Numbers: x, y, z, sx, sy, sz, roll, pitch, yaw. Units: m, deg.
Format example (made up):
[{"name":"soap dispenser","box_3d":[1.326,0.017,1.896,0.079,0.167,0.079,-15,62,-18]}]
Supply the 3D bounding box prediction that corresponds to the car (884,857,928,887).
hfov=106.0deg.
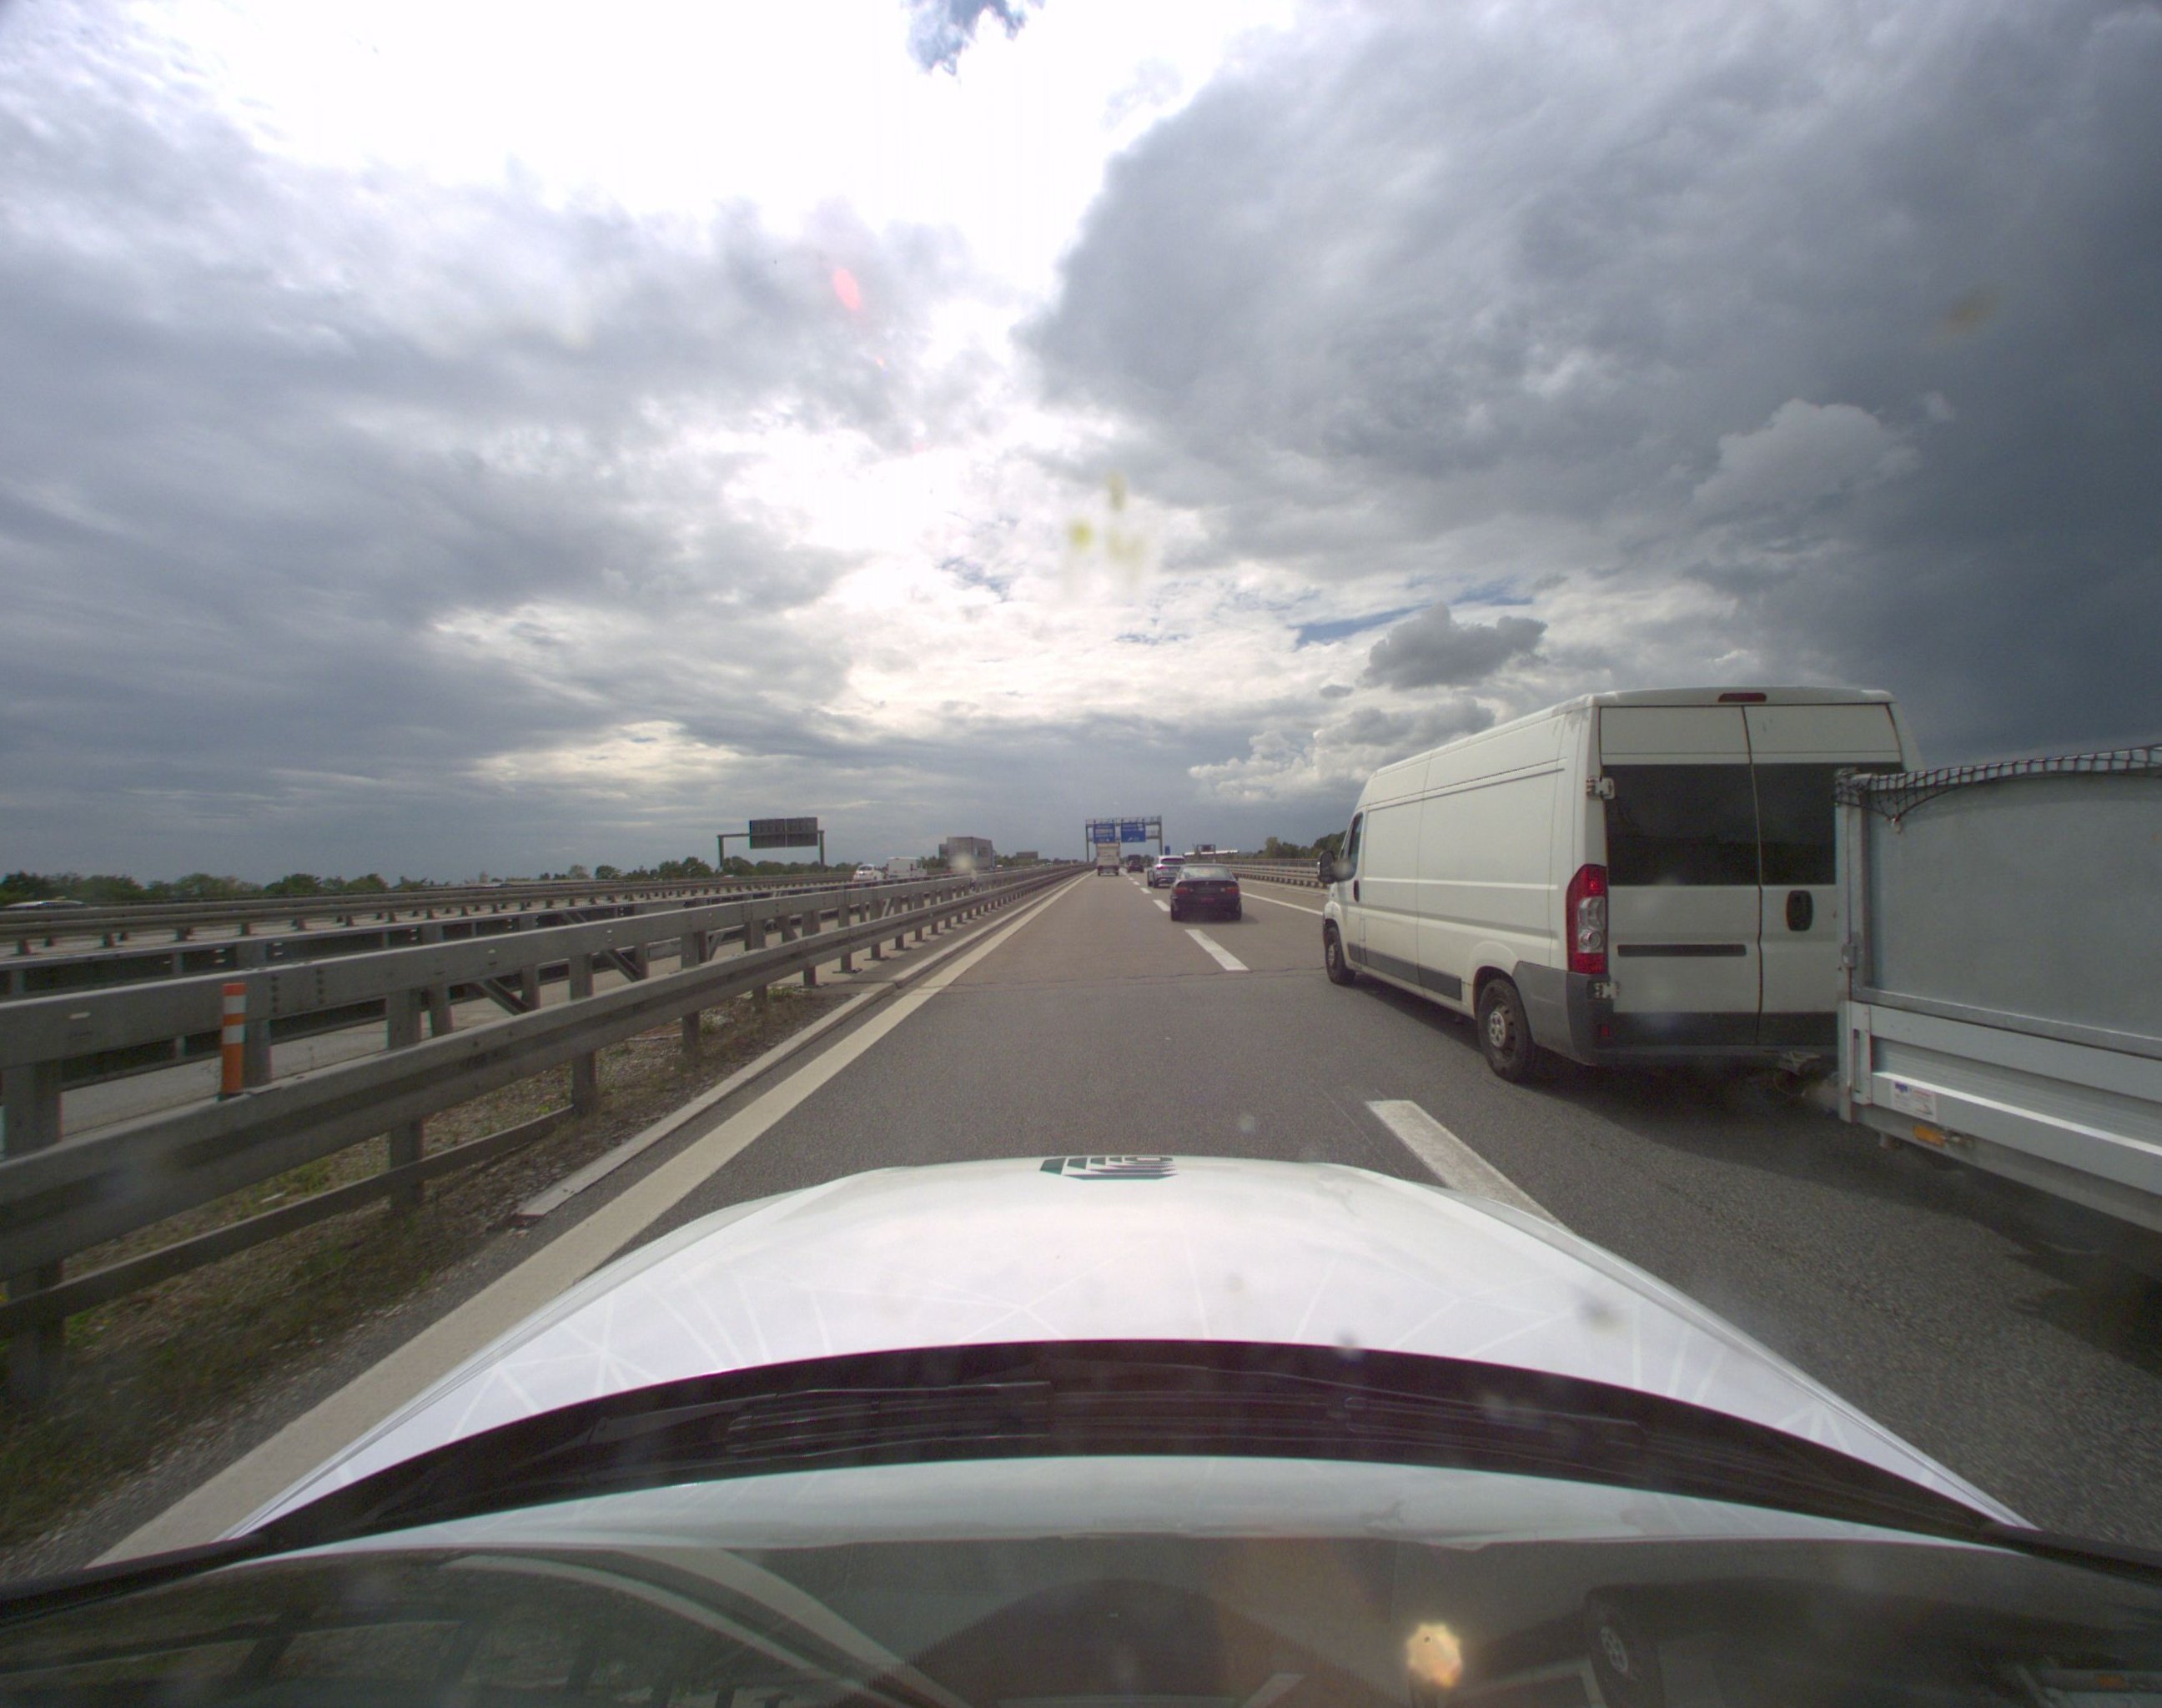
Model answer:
[{"name":"car","box_3d":[-12.029,1.195,56.240,1.986,2.014,4.376,-1,0,2]}]

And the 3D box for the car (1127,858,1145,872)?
[{"name":"car","box_3d":[6.157,1.220,91.895,1.878,1.552,4.001,-1,0,2]}]

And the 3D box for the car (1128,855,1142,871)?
[{"name":"car","box_3d":[7.778,1.272,117.636,1.899,2.262,4.650,-1,0,1]}]

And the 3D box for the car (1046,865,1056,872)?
[{"name":"car","box_3d":[-6.903,3.407,187.075,1.820,1.563,4.003,-1,0,3]}]

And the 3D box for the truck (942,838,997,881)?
[{"name":"truck","box_3d":[-11.298,0.522,84.178,3.172,4.019,16.076,-1,0,1]}]

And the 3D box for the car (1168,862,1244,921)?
[{"name":"car","box_3d":[3.152,0.872,20.543,1.694,1.281,4.376,-1,0,9]}]

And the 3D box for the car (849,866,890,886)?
[{"name":"car","box_3d":[-16.012,1.613,61.804,1.790,1.420,4.004,-1,0,3]}]

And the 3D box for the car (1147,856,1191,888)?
[{"name":"car","box_3d":[4.421,0.864,41.210,1.813,1.514,4.000,-1,0,0]}]

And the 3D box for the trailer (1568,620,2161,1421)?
[{"name":"trailer","box_3d":[3.644,0.414,2.290,1.848,2.014,4.632,-1,0,1]}]

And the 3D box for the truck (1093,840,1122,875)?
[{"name":"truck","box_3d":[2.548,0.426,78.050,2.559,3.126,8.637,-1,-2,2]}]

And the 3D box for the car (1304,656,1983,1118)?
[{"name":"car","box_3d":[3.840,0.194,7.435,2.106,2.454,6.154,-1,0,2]}]

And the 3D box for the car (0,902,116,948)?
[{"name":"car","box_3d":[-43.931,2.958,34.285,1.722,1.629,4.003,-1,-1,3]}]
